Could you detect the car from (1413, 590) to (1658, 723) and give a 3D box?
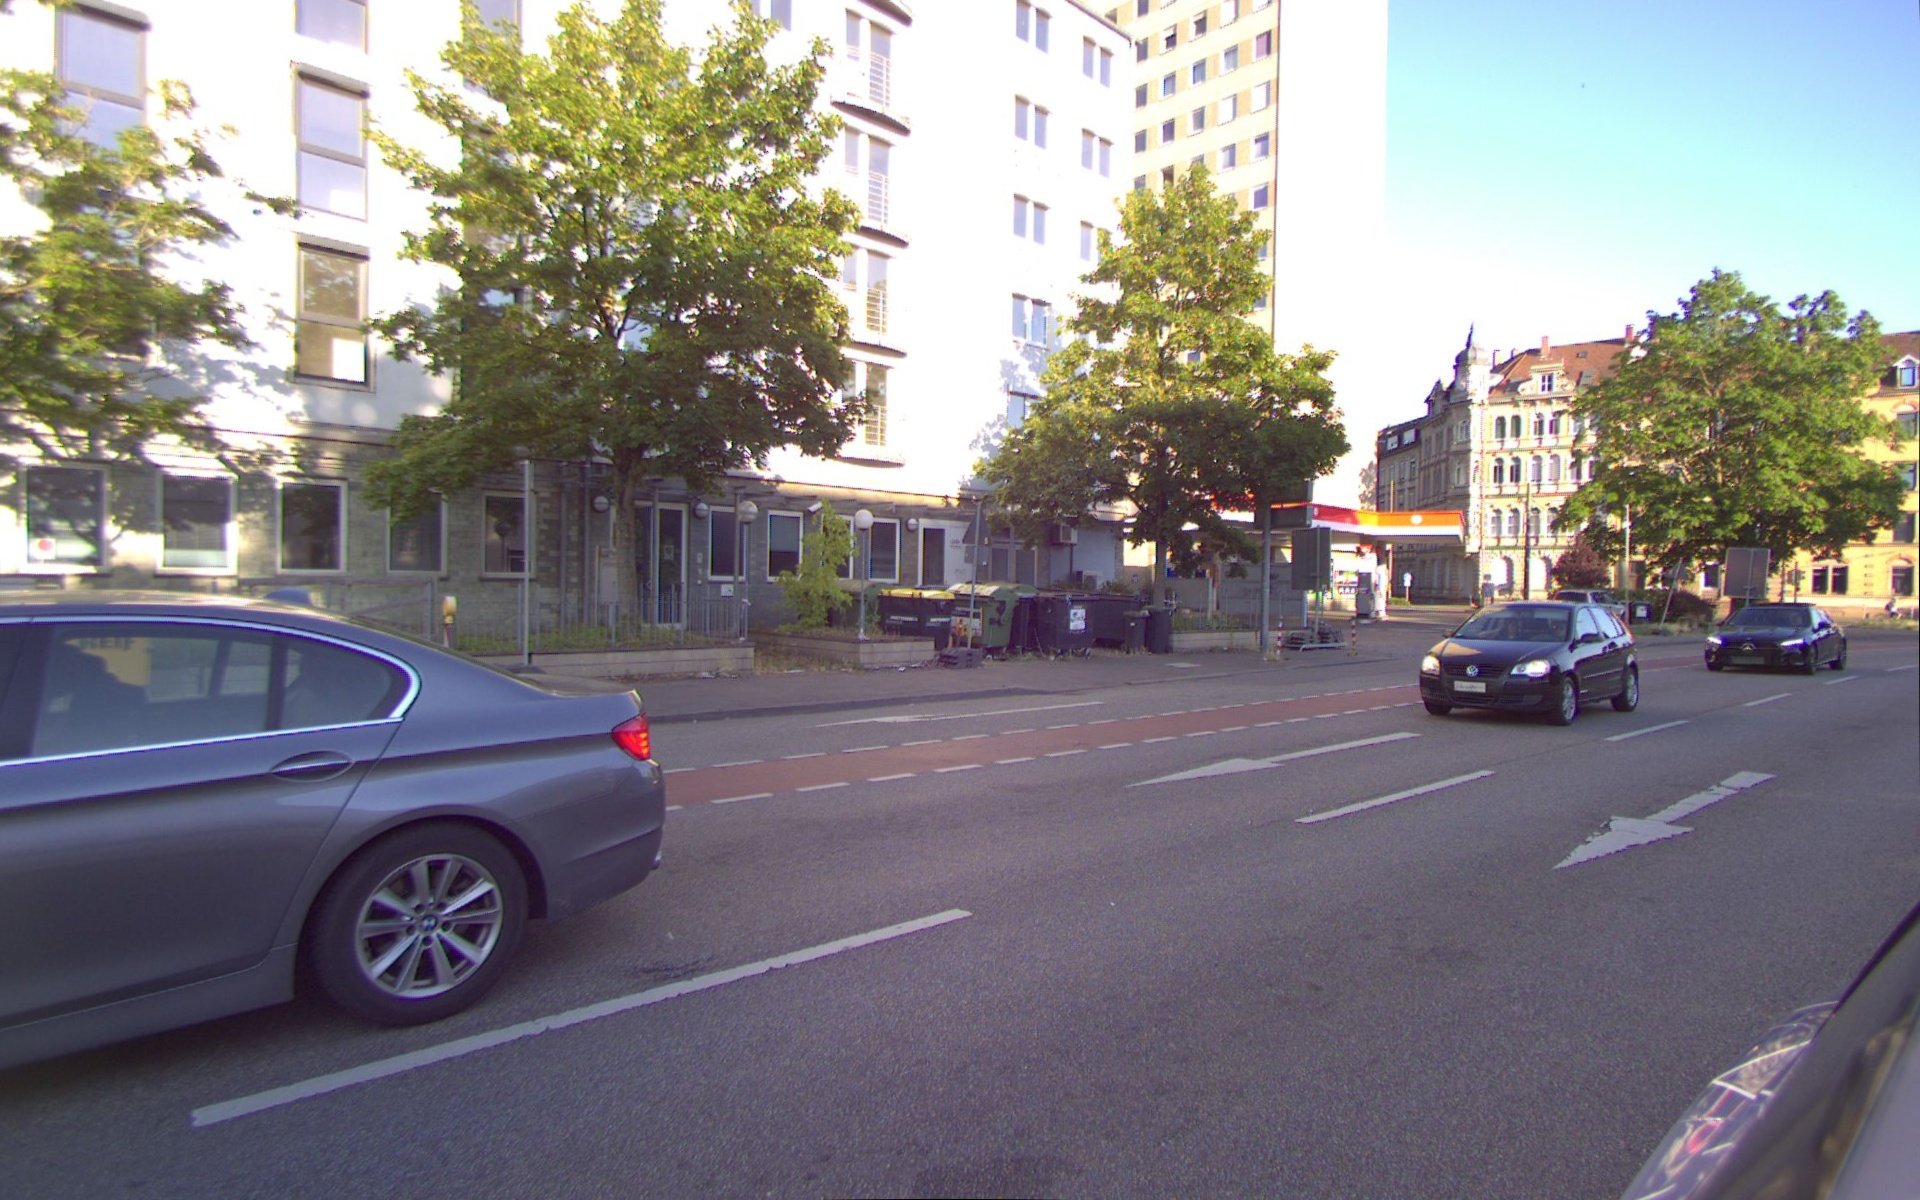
[{"bbox_3d":[7.497,0.617,13.054,3.804,1.467,1.583,0,0,-41],"label":"car"}]

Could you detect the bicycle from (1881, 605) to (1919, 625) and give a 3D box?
[{"bbox_3d":[53.681,0.844,57.526,1.920,1.072,0.444,2,1,43],"label":"bicycle"}]

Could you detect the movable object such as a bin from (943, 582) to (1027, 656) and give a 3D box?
[{"bbox_3d":[0.510,0.364,20.825,1.088,1.441,1.348,0,2,-45],"label":"movable object such as a bin"}]

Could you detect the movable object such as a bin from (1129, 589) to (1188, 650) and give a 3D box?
[{"bbox_3d":[4.541,0.422,23.182,0.938,1.345,0.954,0,1,-43],"label":"movable object such as a bin"}]

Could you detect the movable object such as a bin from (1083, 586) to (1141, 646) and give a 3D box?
[{"bbox_3d":[3.561,0.354,23.678,0.938,1.345,0.954,0,1,-43],"label":"movable object such as a bin"}]

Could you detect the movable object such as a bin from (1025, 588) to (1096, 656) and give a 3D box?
[{"bbox_3d":[2.104,0.436,21.093,1.143,1.345,0.954,0,1,-44],"label":"movable object such as a bin"}]

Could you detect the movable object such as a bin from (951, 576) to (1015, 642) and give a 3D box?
[{"bbox_3d":[0.553,0.197,24.192,1.143,1.517,1.033,0,1,-44],"label":"movable object such as a bin"}]

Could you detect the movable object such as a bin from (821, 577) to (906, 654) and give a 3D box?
[{"bbox_3d":[-1.945,0.288,20.410,1.088,1.479,1.348,0,1,-45],"label":"movable object such as a bin"}]

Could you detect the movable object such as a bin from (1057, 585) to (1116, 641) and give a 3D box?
[{"bbox_3d":[3.081,0.293,24.624,1.080,1.299,0.954,0,1,-44],"label":"movable object such as a bin"}]

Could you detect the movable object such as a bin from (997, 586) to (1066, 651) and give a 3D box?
[{"bbox_3d":[1.561,0.376,22.070,1.143,1.345,0.954,0,1,-44],"label":"movable object such as a bin"}]

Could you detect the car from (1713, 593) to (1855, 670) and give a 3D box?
[{"bbox_3d":[17.536,0.593,21.485,3.976,1.467,1.730,0,0,-42],"label":"car"}]

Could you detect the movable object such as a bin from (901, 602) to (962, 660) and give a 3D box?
[{"bbox_3d":[-0.557,0.576,19.479,0.851,1.058,0.807,2,1,45],"label":"movable object such as a bin"}]

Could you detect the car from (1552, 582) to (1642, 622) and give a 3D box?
[{"bbox_3d":[25.769,0.038,40.911,3.723,1.535,1.691,-1,2,-34],"label":"car"}]

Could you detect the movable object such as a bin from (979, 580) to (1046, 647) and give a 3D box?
[{"bbox_3d":[1.202,0.285,23.199,1.143,1.467,1.033,0,1,-44],"label":"movable object such as a bin"}]

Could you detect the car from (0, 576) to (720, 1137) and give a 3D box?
[{"bbox_3d":[-3.253,0.662,3.193,4.588,1.467,1.817,0,0,-43],"label":"car"}]

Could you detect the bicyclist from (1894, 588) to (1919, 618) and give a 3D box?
[{"bbox_3d":[53.806,0.180,57.511,1.062,1.669,0.721,2,1,43],"label":"bicyclist"}]

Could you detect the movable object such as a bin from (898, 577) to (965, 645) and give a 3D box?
[{"bbox_3d":[-0.664,0.238,23.630,1.143,1.517,1.033,0,1,-44],"label":"movable object such as a bin"}]

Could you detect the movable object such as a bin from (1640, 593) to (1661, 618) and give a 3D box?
[{"bbox_3d":[29.421,0.236,43.104,0.675,1.031,0.544,0,1,-36],"label":"movable object such as a bin"}]

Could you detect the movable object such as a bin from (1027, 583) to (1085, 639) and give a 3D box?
[{"bbox_3d":[2.402,0.263,25.353,1.080,1.345,0.954,0,1,-44],"label":"movable object such as a bin"}]

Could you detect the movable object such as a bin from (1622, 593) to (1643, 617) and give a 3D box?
[{"bbox_3d":[29.107,0.220,43.789,0.675,1.031,0.544,0,1,-36],"label":"movable object such as a bin"}]
